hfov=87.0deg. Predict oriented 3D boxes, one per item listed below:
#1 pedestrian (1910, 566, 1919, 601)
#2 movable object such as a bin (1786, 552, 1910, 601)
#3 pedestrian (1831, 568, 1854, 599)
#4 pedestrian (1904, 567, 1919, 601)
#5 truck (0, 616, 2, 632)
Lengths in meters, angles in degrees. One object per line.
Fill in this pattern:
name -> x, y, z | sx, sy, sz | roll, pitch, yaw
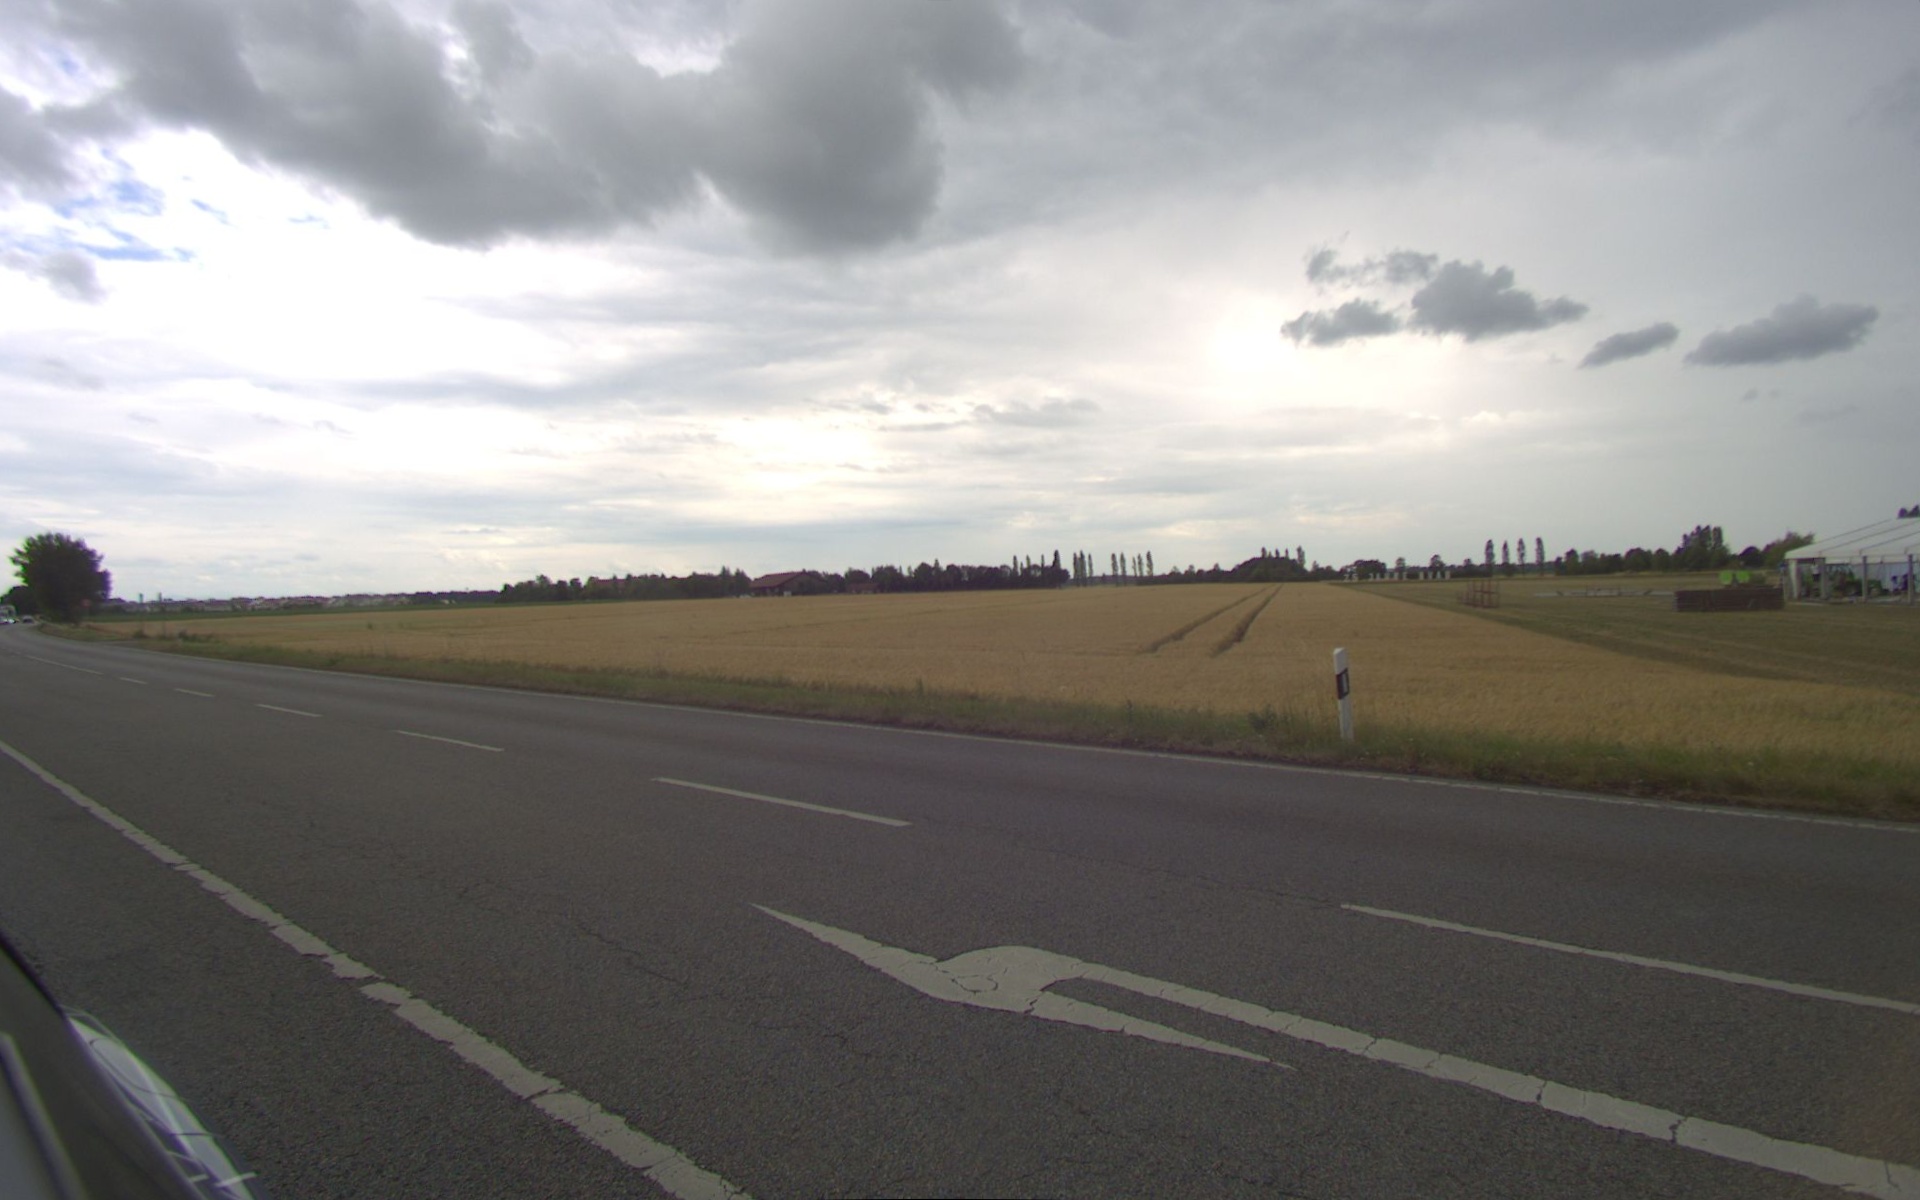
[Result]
pedestrian -> 57.875, -1.013, 60.913 | 0.940, 2.118, 0.856 | -1, 0, 40
movable object such as a bin -> 63.816, -1.690, 73.037 | 4.127, 3.201, 7.533 | -1, 1, 20
pedestrian -> 58.345, -1.064, 66.920 | 0.800, 2.029, 1.019 | -1, 0, 19
pedestrian -> 56.822, -0.945, 59.980 | 0.793, 2.029, 1.029 | -1, 0, -23
truck -> -167.142, 4.163, 174.514 | 2.285, 2.786, 7.686 | -2, 0, -40
